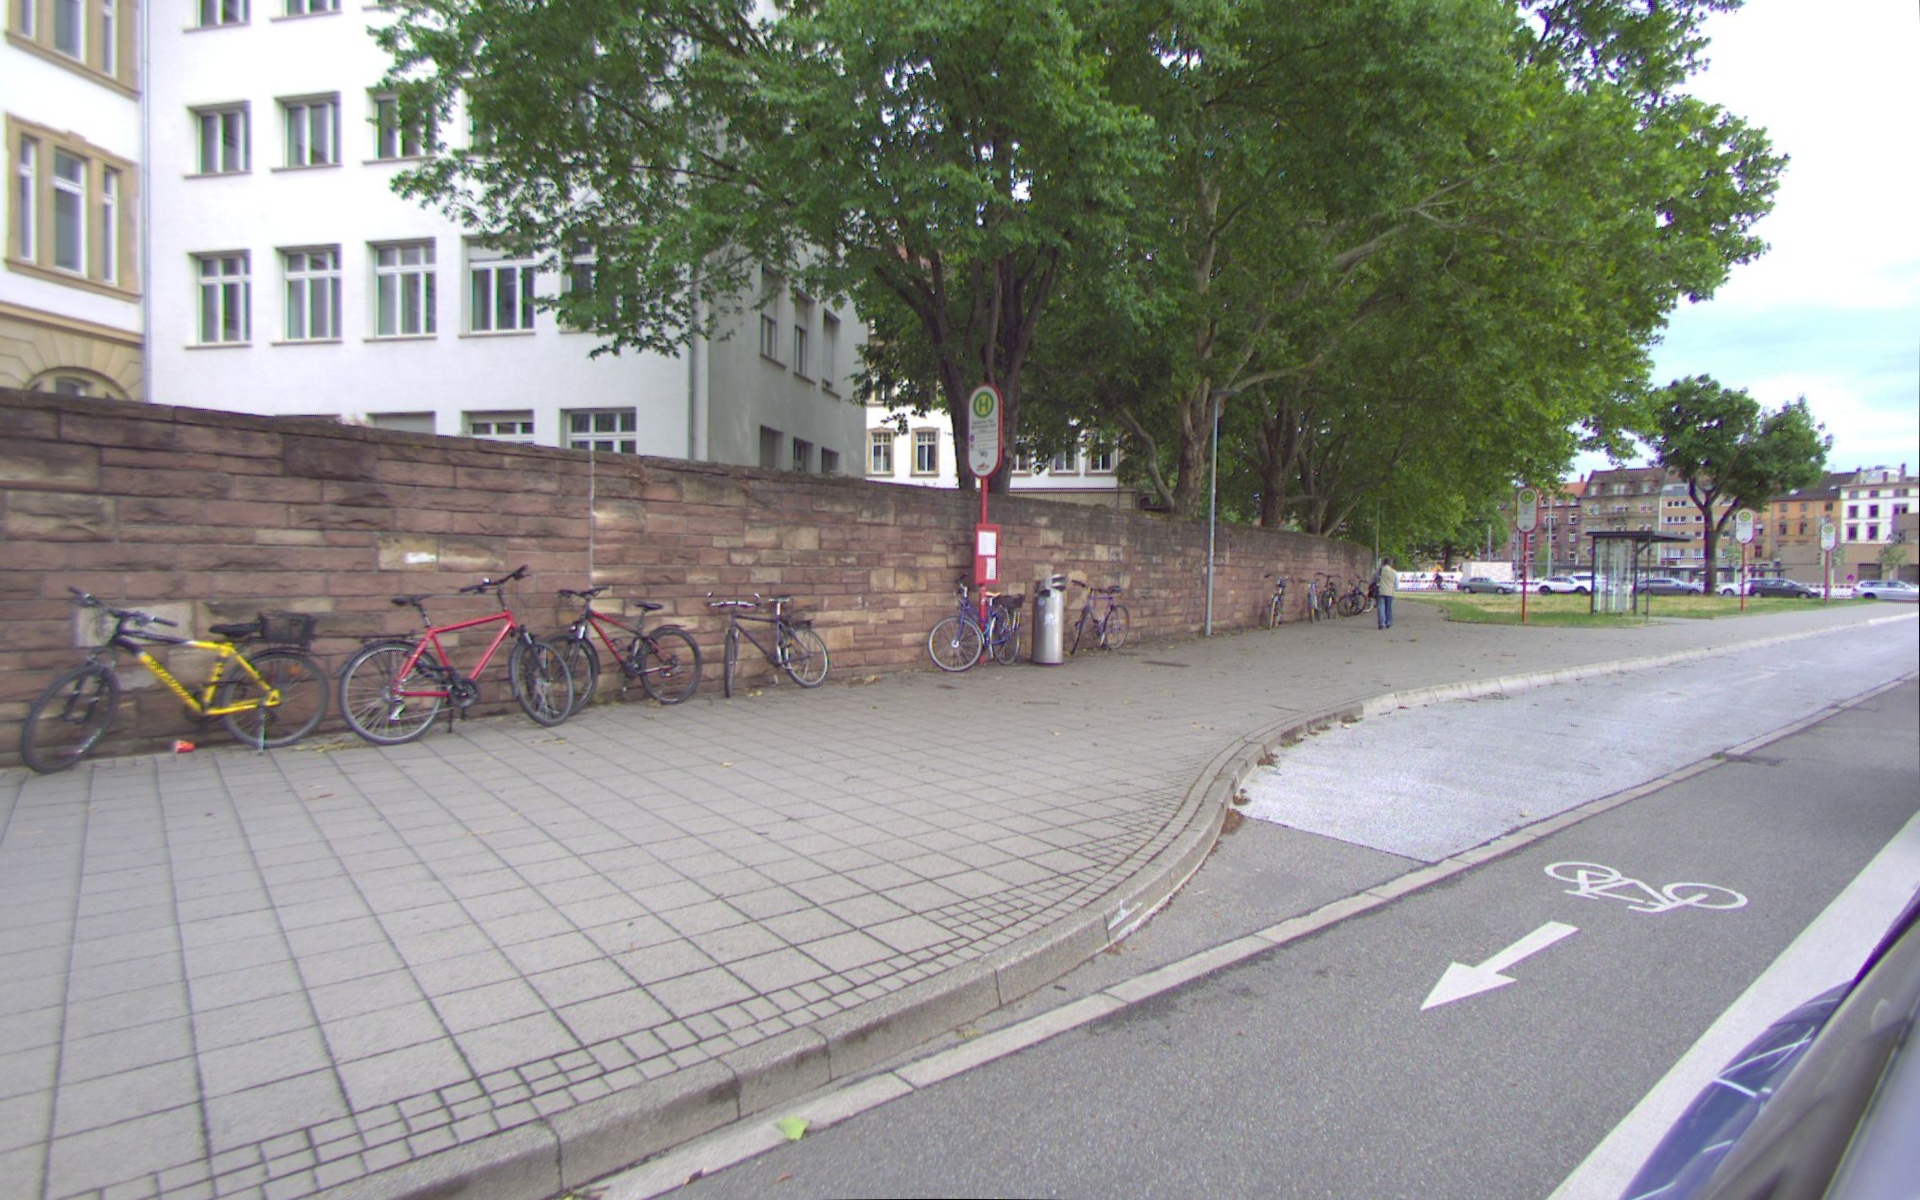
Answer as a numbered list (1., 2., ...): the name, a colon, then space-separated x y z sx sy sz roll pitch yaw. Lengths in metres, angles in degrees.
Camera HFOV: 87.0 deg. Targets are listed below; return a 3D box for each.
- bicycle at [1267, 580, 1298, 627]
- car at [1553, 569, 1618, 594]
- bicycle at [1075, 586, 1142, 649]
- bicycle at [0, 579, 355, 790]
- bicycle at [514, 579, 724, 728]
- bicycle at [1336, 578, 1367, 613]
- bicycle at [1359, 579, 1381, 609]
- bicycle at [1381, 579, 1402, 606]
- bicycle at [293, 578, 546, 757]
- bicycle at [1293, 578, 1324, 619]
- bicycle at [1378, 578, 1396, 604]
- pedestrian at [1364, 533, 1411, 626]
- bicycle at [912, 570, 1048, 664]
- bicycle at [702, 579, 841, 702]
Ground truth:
1. bicycle: 6.977 0.058 21.879 0.361 0.951 1.626 2 2 27
2. car: 51.570 -1.512 83.496 4.271 2.039 1.969 0 1 44
3. bicycle: 2.287 0.249 15.446 0.290 0.896 1.590 2 2 36
4. bicycle: -4.951 0.448 6.474 0.383 1.158 1.922 0 1 29
5. bicycle: -2.874 0.399 8.752 0.336 1.158 1.919 0 1 33
6. bicycle: 11.467 -0.140 29.642 0.648 0.951 1.939 2 2 27
7. bicycle: 13.835 -0.202 34.131 0.563 0.951 1.752 2 2 26
8. bicycle: 18.265 -0.335 42.836 0.686 1.098 1.639 2 2 26
9. bicycle: -3.912 0.425 7.524 0.381 1.158 1.930 0 1 18
10. bicycle: 8.693 -0.061 25.222 0.477 0.951 1.882 2 2 27
11. bicycle: 16.518 -0.345 39.146 0.555 0.951 1.342 2 2 26
12. pedestrian: 9.683 -0.476 22.903 0.778 2.037 0.879 3 4 32
13. bicycle: 0.292 0.175 12.778 0.476 1.089 2.051 2 3 42
14. bicycle: -1.881 0.370 10.307 0.336 1.158 1.658 0 0 33
